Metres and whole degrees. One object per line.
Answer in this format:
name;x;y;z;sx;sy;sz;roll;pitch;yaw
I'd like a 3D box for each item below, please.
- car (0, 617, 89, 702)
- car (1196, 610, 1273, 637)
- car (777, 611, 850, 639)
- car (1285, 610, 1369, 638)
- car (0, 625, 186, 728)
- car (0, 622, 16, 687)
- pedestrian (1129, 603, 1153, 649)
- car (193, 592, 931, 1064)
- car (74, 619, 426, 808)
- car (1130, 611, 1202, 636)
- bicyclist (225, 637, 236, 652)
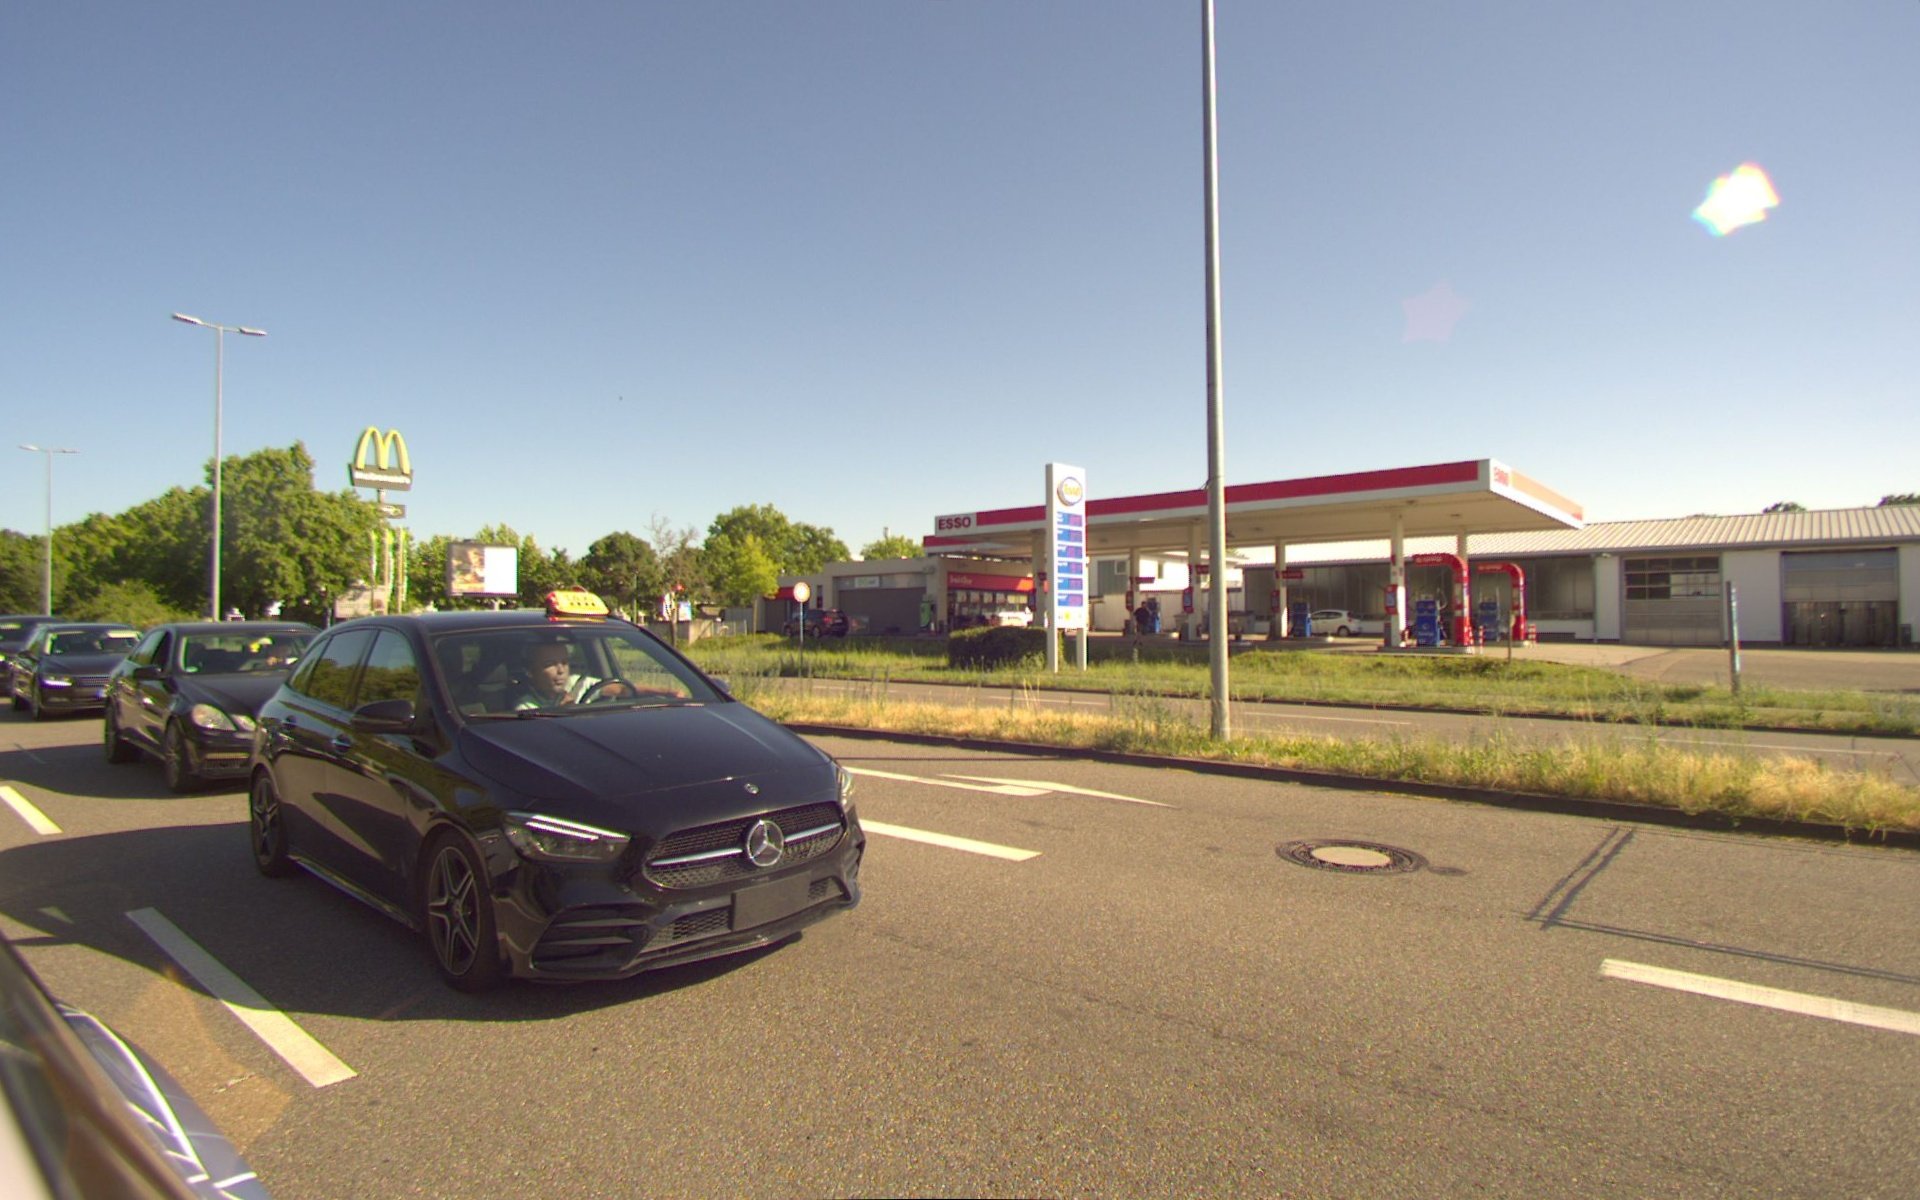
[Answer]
car;-19.926;1.213;21.437;3.876;1.629;1.653;-2;-1;40
car;15.847;1.361;58.577;3.975;1.420;1.661;-1;-4;40
car;-7.953;1.372;54.666;3.975;1.420;1.661;-1;-4;40
car;19.849;1.309;54.835;3.975;1.420;1.661;-1;-4;40
car;-14.439;1.164;16.688;4.284;1.438;1.775;-1;0;40
car;-25.211;1.380;25.535;3.774;1.567;1.615;-1;-1;40
pedestrian;7.082;1.022;39.619;0.895;1.763;0.788;-1;0;13
car;-2.371;0.745;5.329;4.400;1.502;1.741;-1;0;40
car;-7.248;0.939;10.156;4.400;1.449;1.845;-1;0;40
car;12.449;1.405;61.376;3.975;1.420;1.661;-1;-4;40
bicyclist;-65.924;4.022;91.437;0.700;1.298;0.621;-1;0;42
